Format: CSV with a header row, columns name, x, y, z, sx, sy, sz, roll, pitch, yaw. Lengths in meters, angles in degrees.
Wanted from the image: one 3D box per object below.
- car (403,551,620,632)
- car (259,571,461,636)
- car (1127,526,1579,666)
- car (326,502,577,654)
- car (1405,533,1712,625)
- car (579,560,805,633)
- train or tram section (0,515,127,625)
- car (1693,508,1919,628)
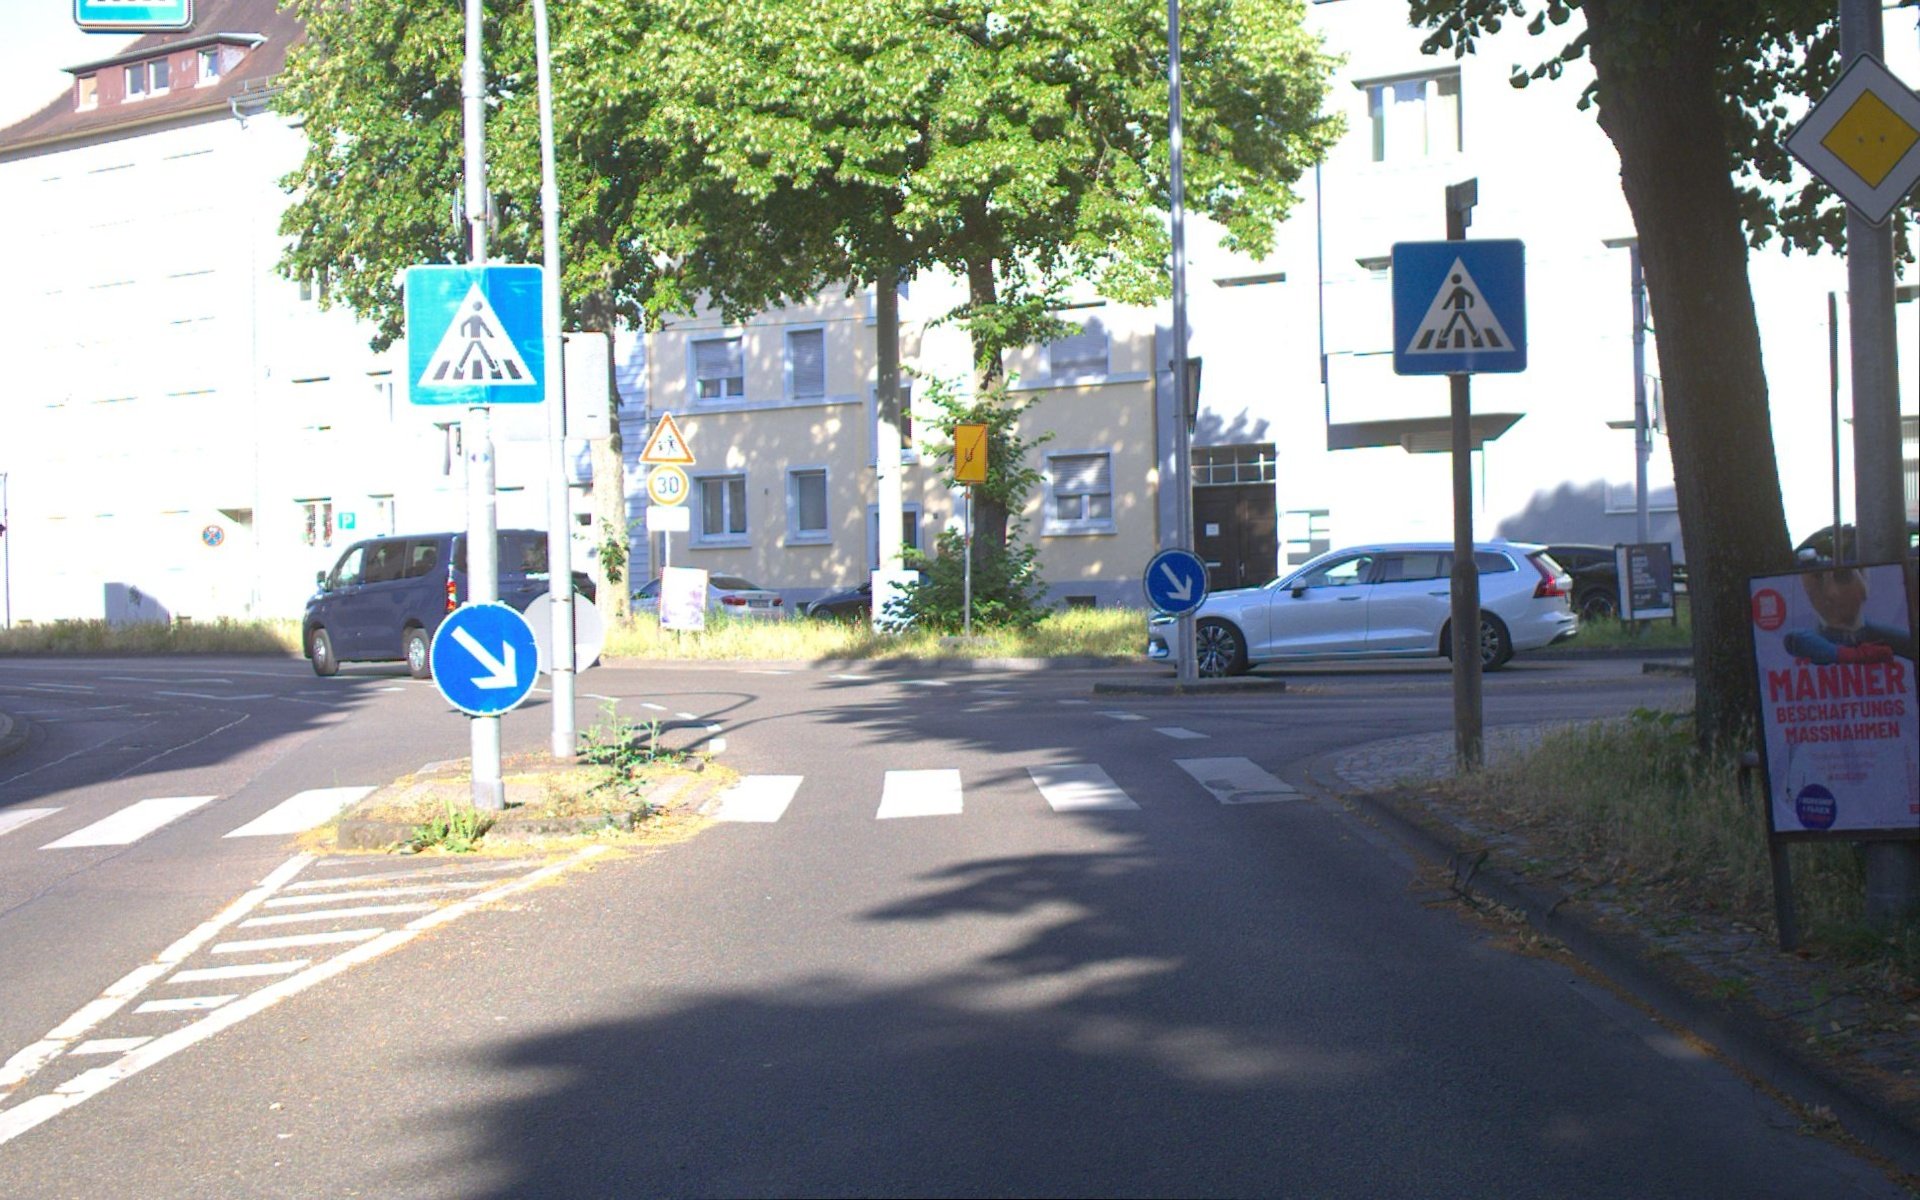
name,x,y,z,sx,sy,sz,roll,pitch,yaw
car,-9.572,-0.169,73.144,4.637,1.567,1.995,-1,1,42
car,-13.415,0.066,76.729,4.442,1.381,1.996,0,2,39
car,4.396,-0.046,38.298,4.760,1.458,1.854,-1,1,15
car,-7.047,-0.301,47.372,1.993,2.007,4.000,0,0,-32
car,9.554,-0.343,55.055,4.442,1.381,1.995,0,2,42
car,-5.421,-0.076,69.239,4.442,1.381,1.995,0,2,42
train or tram section,-31.480,-0.985,112.861,2.778,3.543,9.909,-1,0,22
car,13.394,-0.495,51.619,4.206,1.743,1.995,0,2,42
